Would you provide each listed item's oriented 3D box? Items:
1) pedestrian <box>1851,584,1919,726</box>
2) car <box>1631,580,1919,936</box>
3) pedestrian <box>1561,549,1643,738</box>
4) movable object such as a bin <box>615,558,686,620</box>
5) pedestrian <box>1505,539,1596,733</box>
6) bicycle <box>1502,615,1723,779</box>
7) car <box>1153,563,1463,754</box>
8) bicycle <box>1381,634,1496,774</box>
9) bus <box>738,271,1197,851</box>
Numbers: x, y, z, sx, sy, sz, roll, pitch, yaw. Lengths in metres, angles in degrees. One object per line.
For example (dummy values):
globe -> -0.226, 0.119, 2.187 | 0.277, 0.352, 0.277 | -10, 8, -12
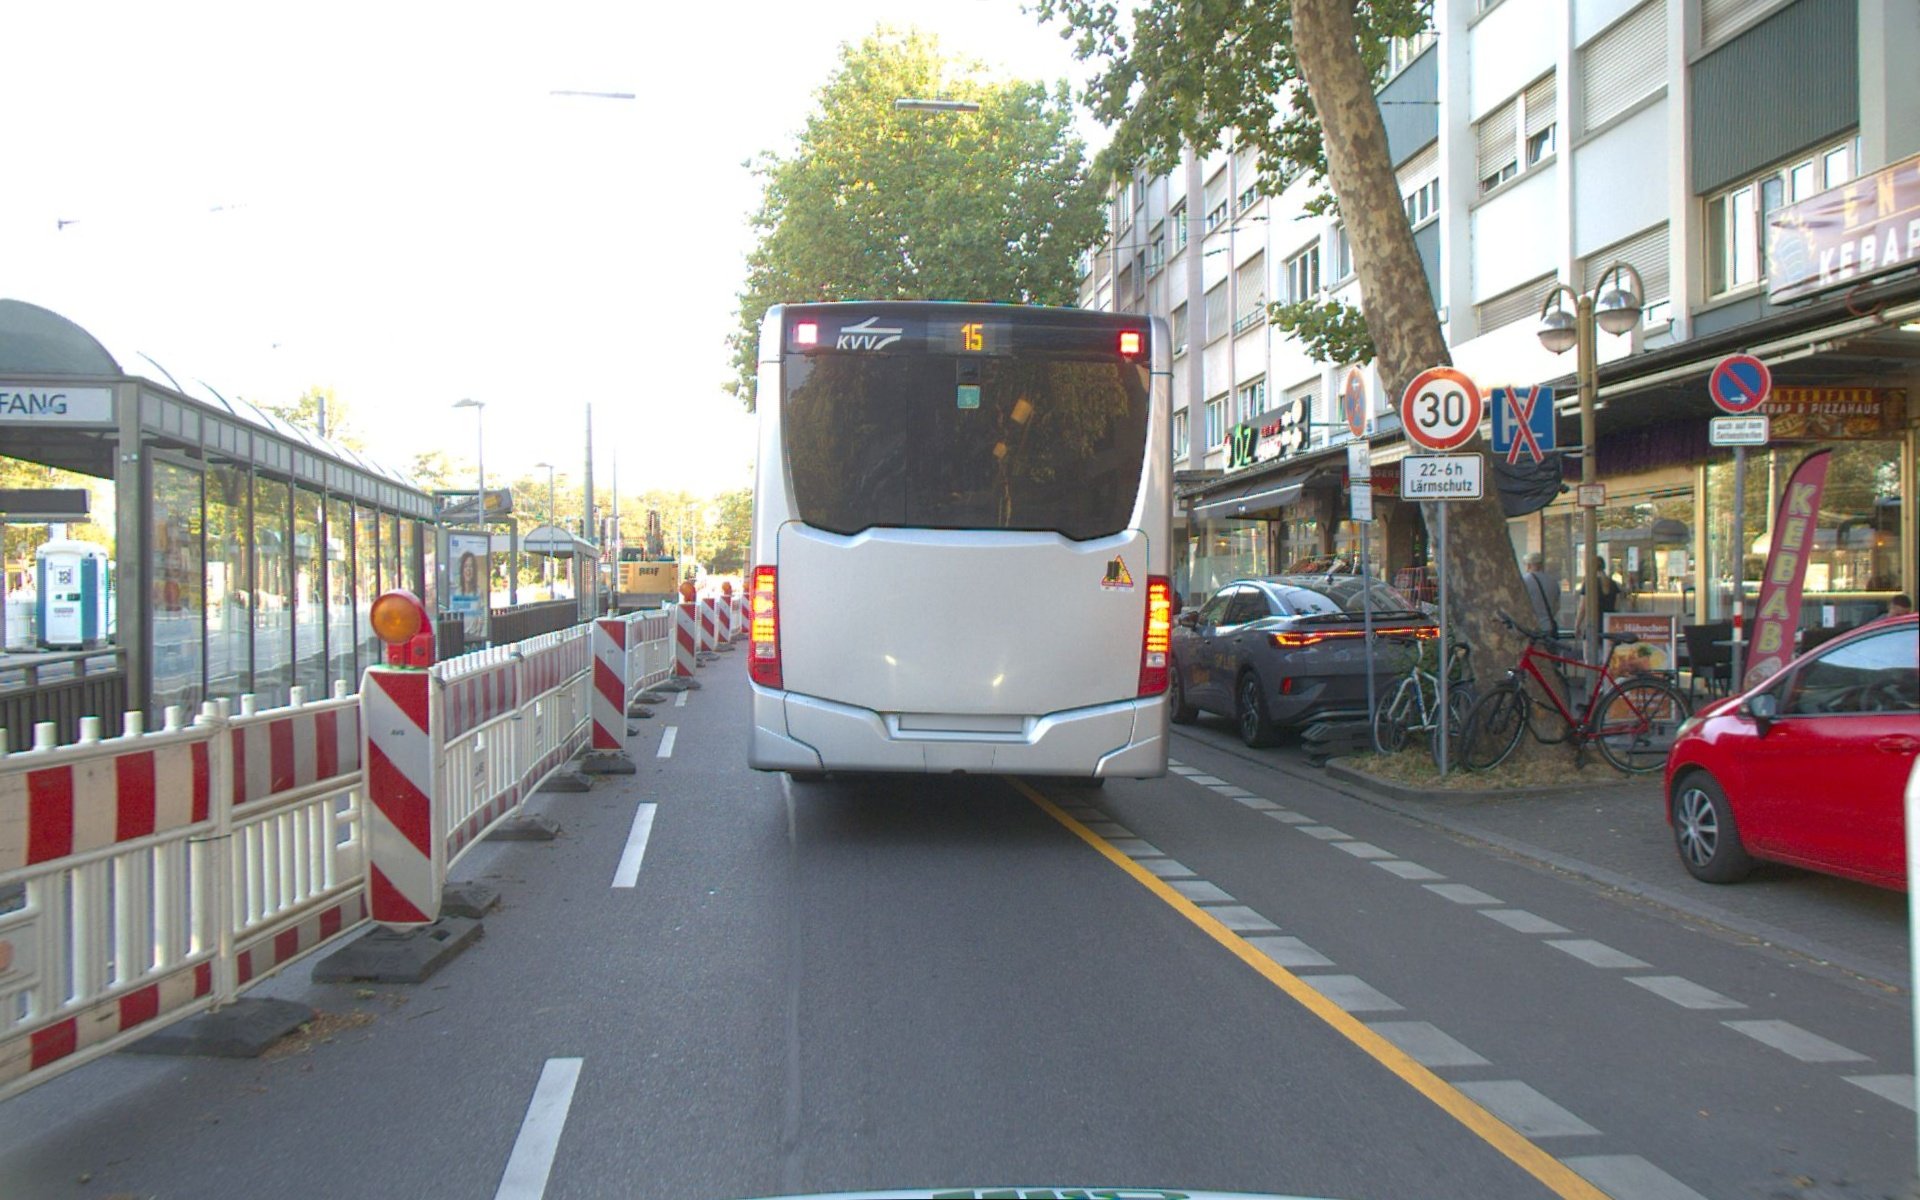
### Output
pedestrian -> 8.599, 0.484, 14.963 | 0.663, 1.224, 0.705 | -3, 0, 6
car -> 4.857, 0.671, 7.478 | 1.635, 1.454, 3.841 | -3, 1, -8
pedestrian -> 7.128, 0.472, 18.386 | 0.600, 2.049, 0.696 | -1, 0, -4
movable object such as a bin -> -12.937, -0.460, 69.381 | 2.754, 2.505, 3.992 | -1, 0, -8
pedestrian -> 6.381, 0.380, 17.890 | 0.677, 2.049, 0.695 | -1, 0, -5
bicycle -> 4.776, 0.710, 12.143 | 1.429, 1.084, 0.296 | -4, 3, 8
car -> 3.394, 0.501, 17.002 | 1.707, 1.625, 4.291 | -3, 1, -8
bicycle -> 3.706, 0.788, 12.871 | 0.290, 0.943, 1.127 | -5, 4, -14
bus -> -0.098, -0.241, 14.385 | 2.555, 3.225, 10.288 | 0, 0, -2
